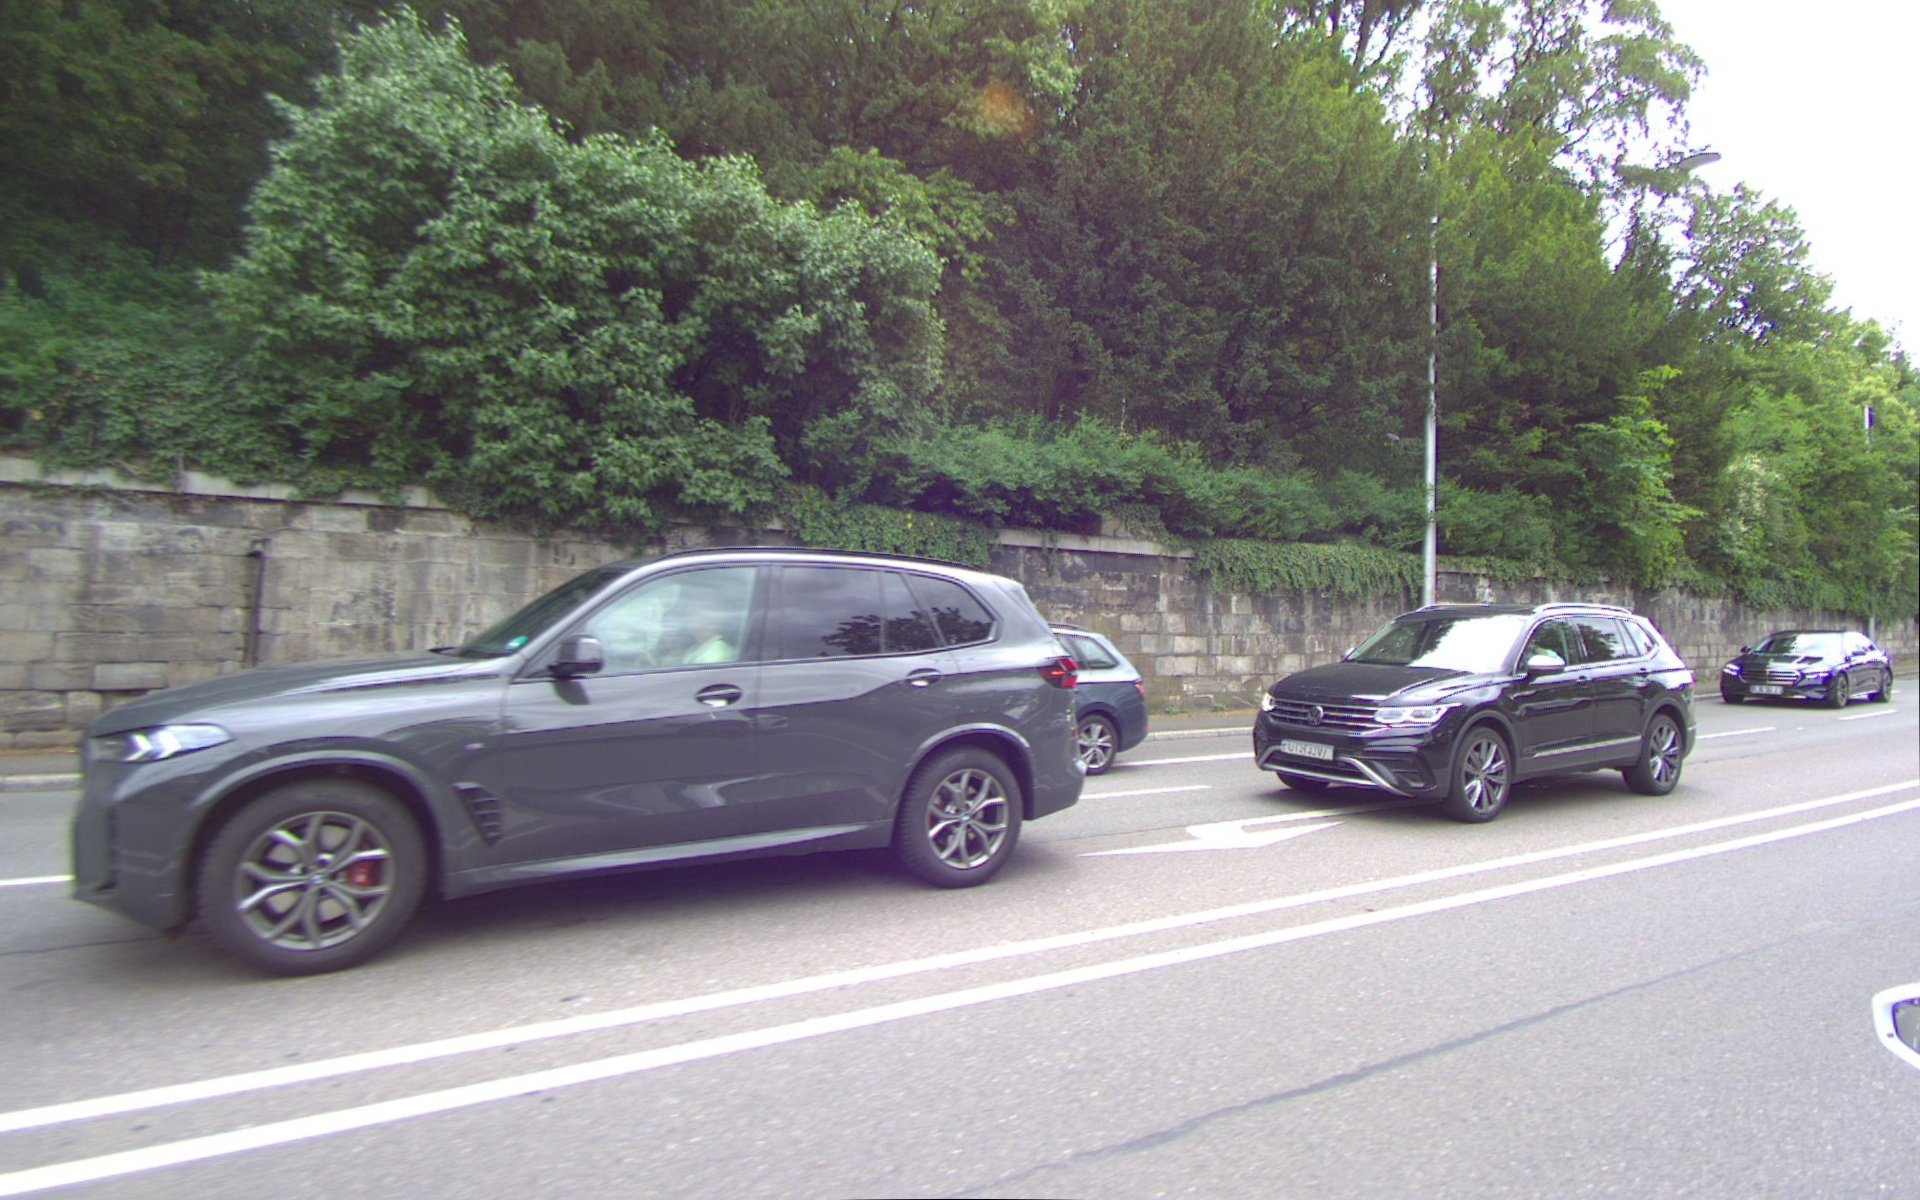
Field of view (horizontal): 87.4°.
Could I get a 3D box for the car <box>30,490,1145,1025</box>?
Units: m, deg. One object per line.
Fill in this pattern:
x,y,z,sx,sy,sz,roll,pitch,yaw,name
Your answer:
-1.483,0.612,5.431,4.822,1.772,1.950,2,-2,-31,car

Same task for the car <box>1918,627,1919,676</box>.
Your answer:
30.843,1.563,30.456,3.959,1.455,1.831,1,-2,-34,car

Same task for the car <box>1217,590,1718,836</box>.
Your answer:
4.571,0.866,8.848,4.572,1.673,1.838,2,-3,-32,car

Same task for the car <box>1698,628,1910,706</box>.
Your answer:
17.334,1.326,20.575,4.702,1.428,1.992,2,-2,-32,car
